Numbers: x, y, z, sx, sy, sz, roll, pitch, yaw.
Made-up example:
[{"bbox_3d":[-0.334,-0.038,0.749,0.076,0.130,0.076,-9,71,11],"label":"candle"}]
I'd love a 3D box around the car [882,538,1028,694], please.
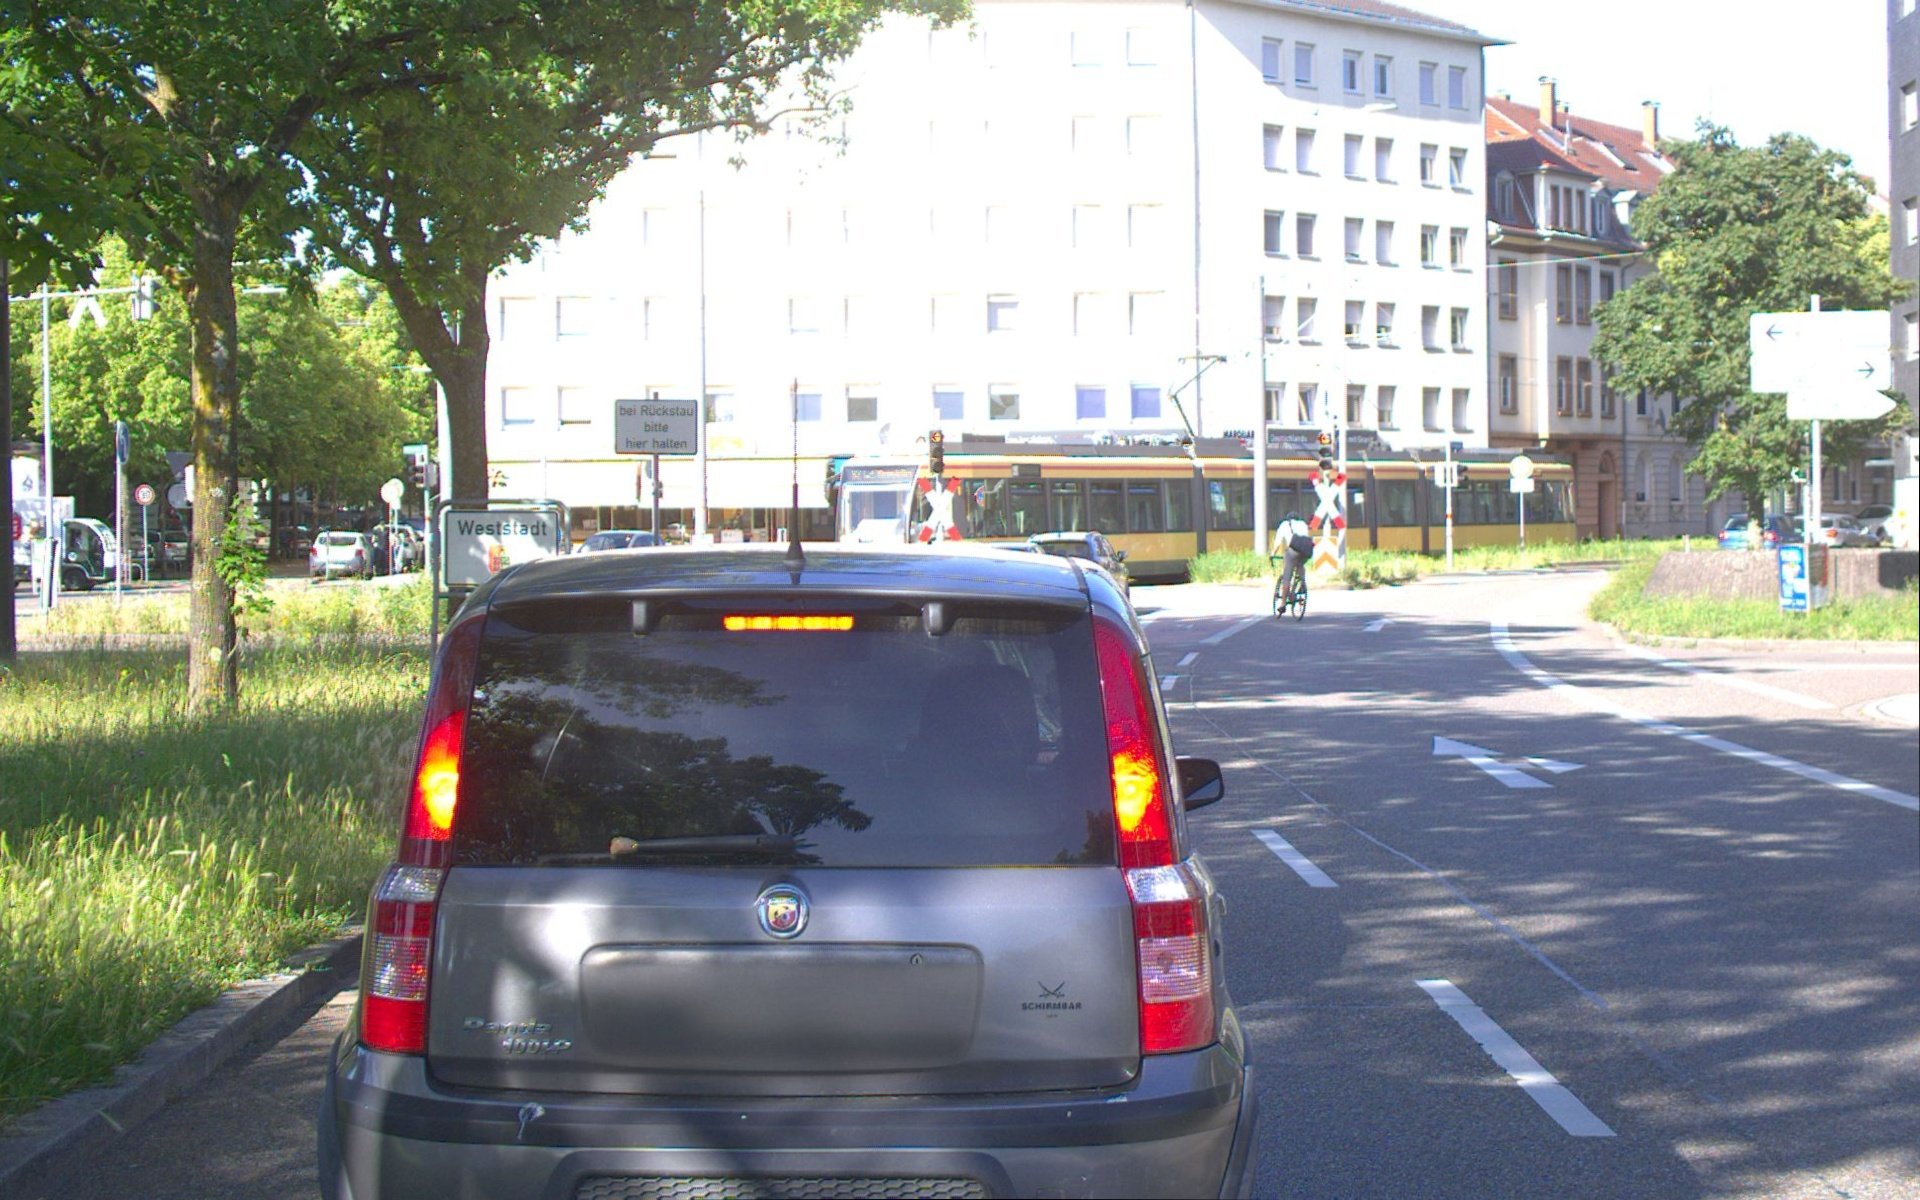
[{"bbox_3d":[-0.061,0.122,33.875,1.356,1.444,3.266,-1,1,-1],"label":"car"}]

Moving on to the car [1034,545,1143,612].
[{"bbox_3d":[2.174,-0.369,57.681,1.143,1.060,2.719,0,1,17],"label":"car"}]

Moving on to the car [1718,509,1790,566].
[{"bbox_3d":[20.888,-1.659,90.399,1.683,1.444,3.569,0,1,15],"label":"car"}]

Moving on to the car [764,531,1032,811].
[{"bbox_3d":[-0.362,0.355,20.691,1.463,1.503,3.505,0,2,-1],"label":"car"}]

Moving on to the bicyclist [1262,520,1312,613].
[{"bbox_3d":[5.120,-0.530,53.904,0.741,1.433,0.845,1,0,4],"label":"bicyclist"}]

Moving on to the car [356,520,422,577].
[{"bbox_3d":[-20.503,-1.867,123.598,1.993,2.007,4.001,-1,1,-4],"label":"car"}]

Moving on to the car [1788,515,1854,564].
[{"bbox_3d":[23.565,-1.663,94.026,1.528,1.310,3.285,0,1,18],"label":"car"}]

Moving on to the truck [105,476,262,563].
[{"bbox_3d":[-28.868,-2.991,127.790,5.485,3.158,2.340,0,1,28],"label":"truck"}]

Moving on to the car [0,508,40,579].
[{"bbox_3d":[-28.572,-1.597,97.985,4.176,2.007,1.932,-1,1,-2],"label":"car"}]

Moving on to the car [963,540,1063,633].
[{"bbox_3d":[0.750,-0.211,49.607,1.356,1.277,2.876,0,1,-1],"label":"car"}]

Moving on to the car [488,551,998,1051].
[{"bbox_3d":[-0.645,0.559,11.652,1.463,1.396,3.393,0,1,-1],"label":"car"}]

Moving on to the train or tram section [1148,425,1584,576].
[{"bbox_3d":[11.743,-2.743,95.185,3.302,3.757,20.772,0,2,32],"label":"train or tram section"}]

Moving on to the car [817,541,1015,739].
[{"bbox_3d":[-0.347,0.268,27.265,1.463,1.420,3.381,0,2,-1],"label":"car"}]

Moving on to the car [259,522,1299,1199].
[{"bbox_3d":[-0.303,0.597,7.430,1.628,1.503,4.000,-1,1,-1],"label":"car"}]

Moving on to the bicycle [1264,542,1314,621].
[{"bbox_3d":[5.144,-0.295,53.884,0.708,1.194,2.520,1,1,4],"label":"bicycle"}]

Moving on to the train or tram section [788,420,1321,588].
[{"bbox_3d":[2.796,-2.258,80.654,3.301,3.501,19.351,0,2,31],"label":"train or tram section"}]
